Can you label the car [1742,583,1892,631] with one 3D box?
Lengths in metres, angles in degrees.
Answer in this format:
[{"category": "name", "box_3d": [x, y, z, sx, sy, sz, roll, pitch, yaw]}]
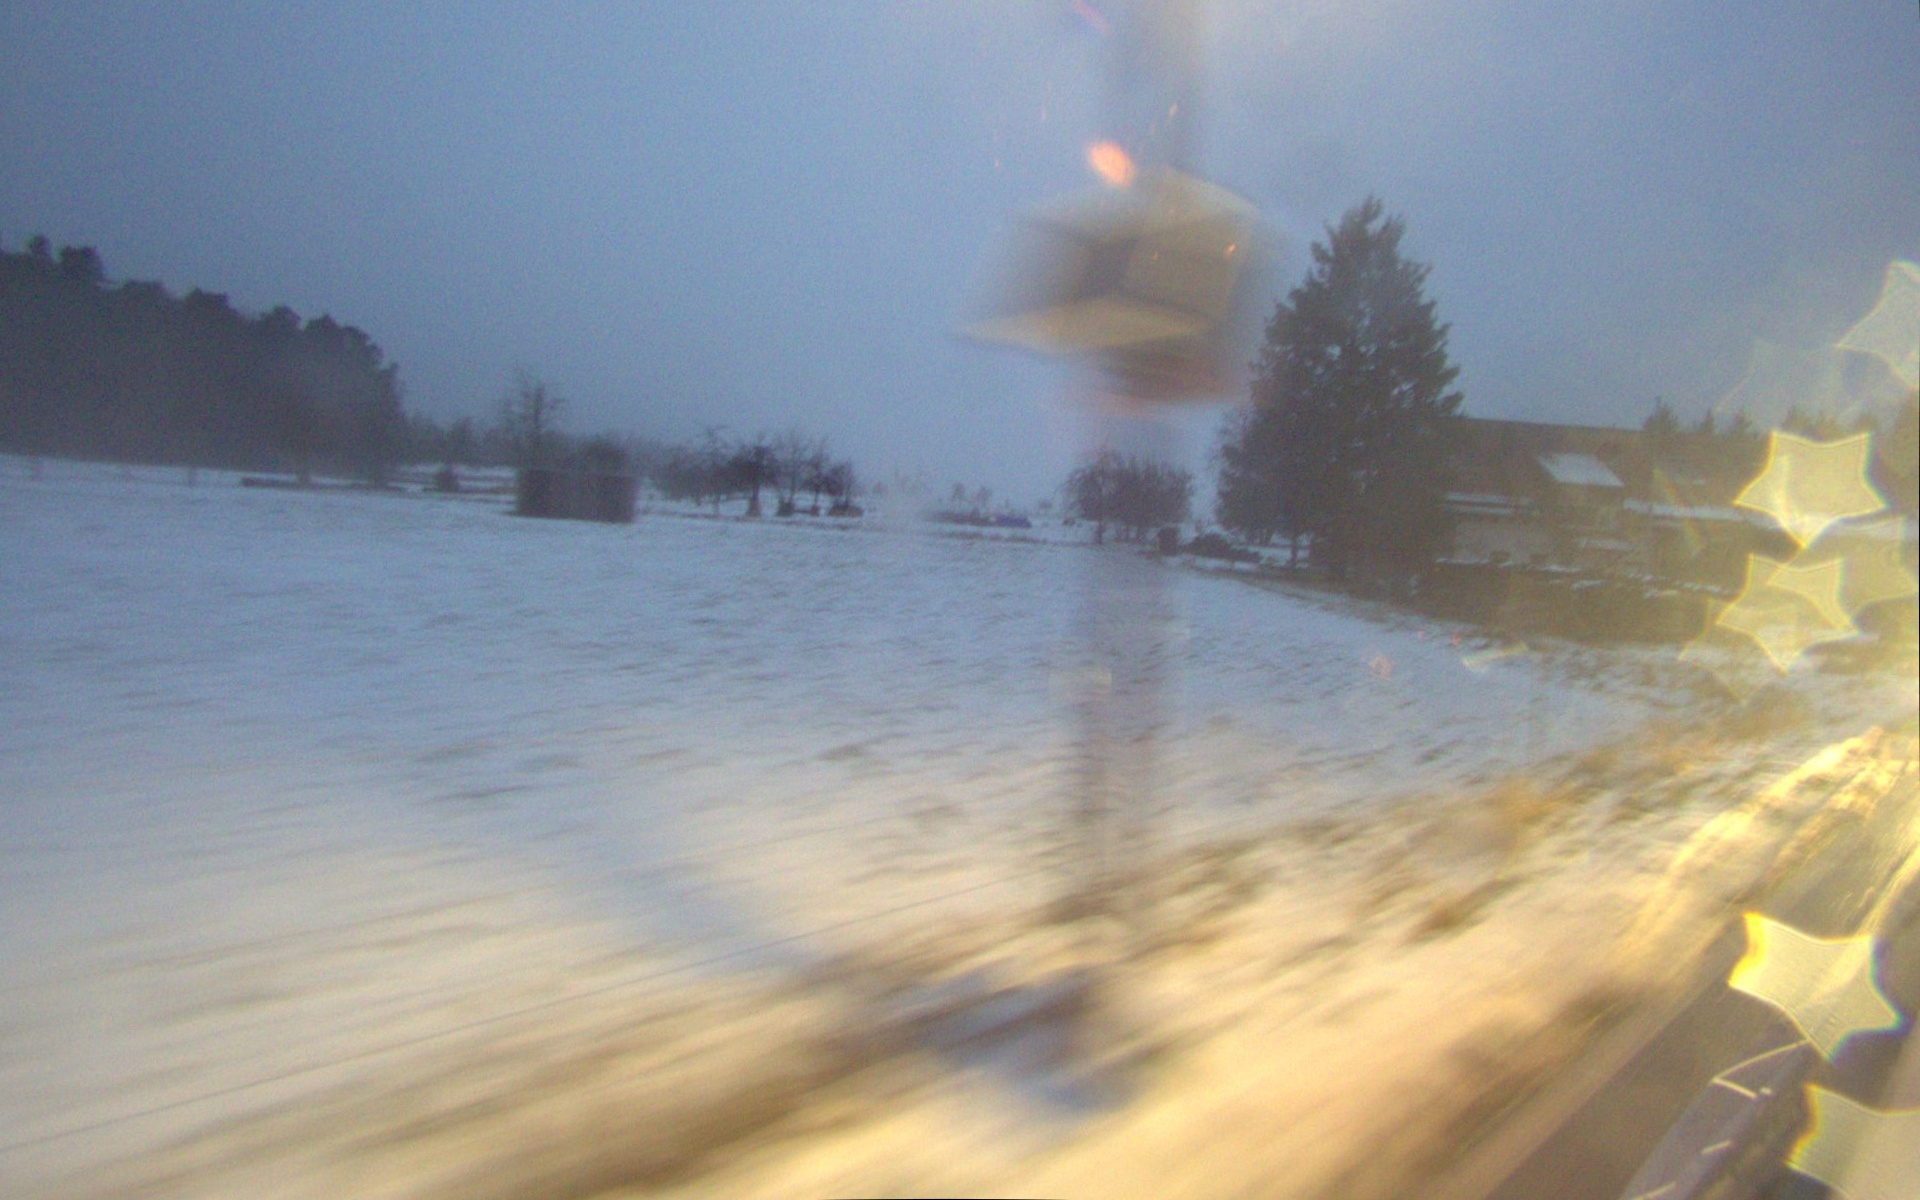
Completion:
[{"category": "car", "box_3d": [36.138, 0.272, 42.782, 1.825, 1.677, 4.416, 2, 3, -32]}]
